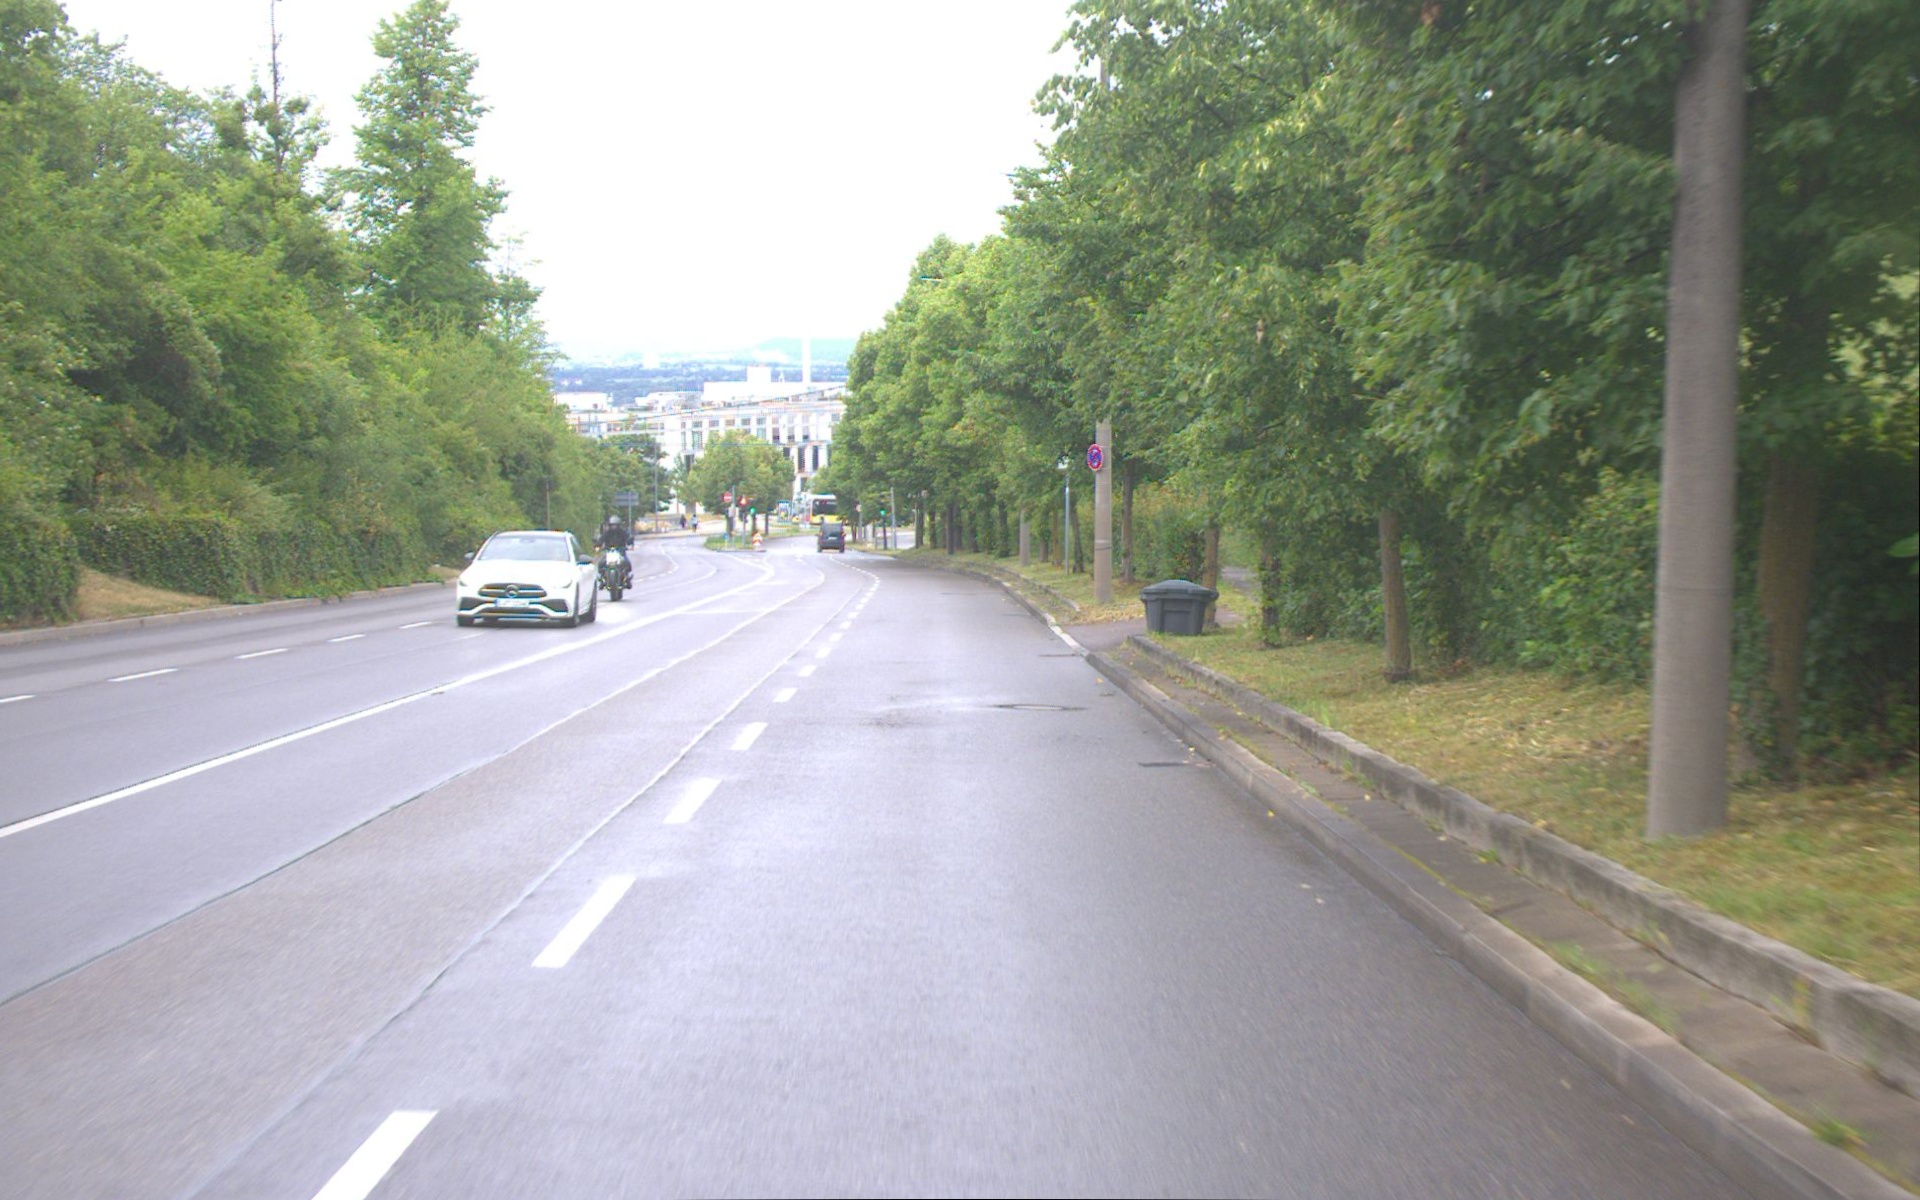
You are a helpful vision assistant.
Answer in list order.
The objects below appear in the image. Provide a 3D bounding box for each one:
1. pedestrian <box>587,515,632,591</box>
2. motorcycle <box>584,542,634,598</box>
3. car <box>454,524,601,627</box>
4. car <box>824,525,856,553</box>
[{"bbox_3d":[-7.194,-0.974,70.600,0.805,1.536,1.111,1,1,0],"label":"pedestrian"},{"bbox_3d":[-7.205,-0.629,70.586,0.805,1.127,2.231,1,1,0],"label":"motorcycle"},{"bbox_3d":[-6.742,-0.414,53.972,1.715,1.500,4.517,2,1,0],"label":"car"},{"bbox_3d":[-7.625,-3.865,218.001,1.849,1.696,3.793,2,0,-3],"label":"car"}]
